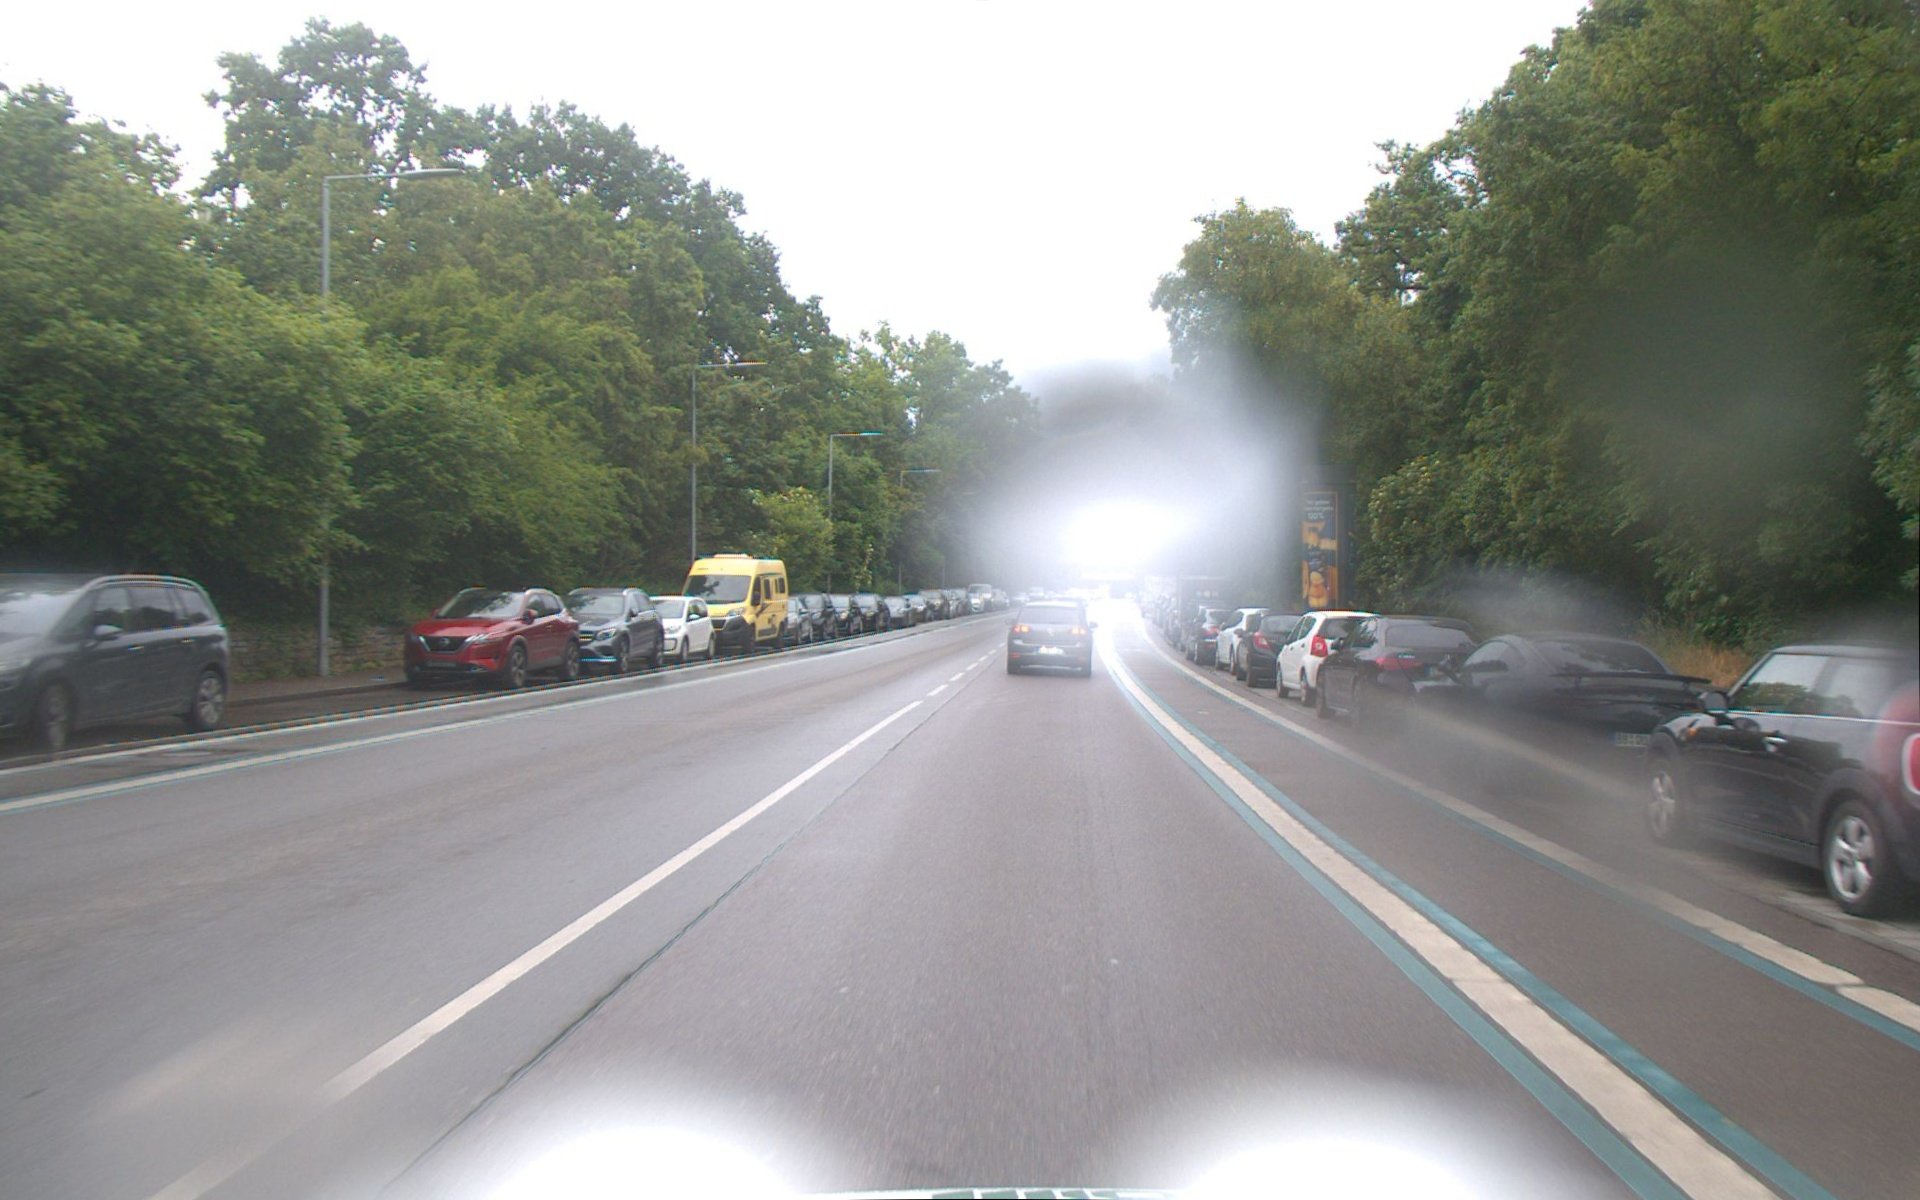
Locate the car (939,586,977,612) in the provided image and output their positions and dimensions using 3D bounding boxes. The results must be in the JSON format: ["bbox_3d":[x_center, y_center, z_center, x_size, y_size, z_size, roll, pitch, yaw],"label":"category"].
[{"bbox_3d":[-0.107,-0.069,102.336,1.839,1.588,4.471,1,0,6],"label":"car"}]

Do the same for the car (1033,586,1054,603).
[{"bbox_3d":[9.905,-0.662,195.967,2.113,2.049,5.034,0,0,7],"label":"car"}]

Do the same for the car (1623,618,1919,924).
[{"bbox_3d":[5.521,0.887,9.850,1.662,1.437,3.704,2,0,1],"label":"car"}]

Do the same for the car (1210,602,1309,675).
[{"bbox_3d":[6.761,0.831,37.696,1.584,1.492,4.001,2,0,1],"label":"car"}]

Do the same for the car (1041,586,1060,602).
[{"bbox_3d":[11.668,-0.807,213.091,2.113,2.049,5.034,0,0,7],"label":"car"}]

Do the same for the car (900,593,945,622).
[{"bbox_3d":[-1.809,0.334,80.122,1.660,1.323,4.195,1,0,6],"label":"car"}]

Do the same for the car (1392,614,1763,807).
[{"bbox_3d":[5.454,0.889,15.275,1.814,1.423,4.386,2,0,1],"label":"car"}]

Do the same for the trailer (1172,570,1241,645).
[{"bbox_3d":[7.913,0.217,53.477,1.866,2.287,4.771,1,1,5],"label":"trailer"}]

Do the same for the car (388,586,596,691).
[{"bbox_3d":[-7.841,0.601,28.200,1.878,1.645,4.493,0,0,6],"label":"car"}]

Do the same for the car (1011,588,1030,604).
[{"bbox_3d":[6.005,-0.396,163.943,1.637,1.540,3.632,1,1,5],"label":"car"}]

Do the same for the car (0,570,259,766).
[{"bbox_3d":[-8.912,0.555,16.513,1.695,1.677,4.573,1,0,2],"label":"car"}]

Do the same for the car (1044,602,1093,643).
[{"bbox_3d":[4.352,0.902,67.095,1.842,1.491,4.002,2,1,2],"label":"car"}]

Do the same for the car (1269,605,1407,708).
[{"bbox_3d":[6.094,0.863,27.000,1.527,1.486,3.677,2,0,2],"label":"car"}]

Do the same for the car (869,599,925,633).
[{"bbox_3d":[-2.661,0.665,70.518,1.830,1.326,4.473,1,1,5],"label":"car"}]

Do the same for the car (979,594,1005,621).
[{"bbox_3d":[2.524,0.546,129.684,1.899,2.049,4.742,1,0,3],"label":"car"}]

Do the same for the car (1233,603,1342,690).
[{"bbox_3d":[6.394,0.864,32.668,1.624,1.490,3.902,3,1,5],"label":"car"}]

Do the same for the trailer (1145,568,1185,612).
[{"bbox_3d":[12.342,-0.598,99.871,2.087,2.605,4.299,1,0,3],"label":"trailer"}]

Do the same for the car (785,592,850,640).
[{"bbox_3d":[-4.775,0.508,55.773,1.568,1.536,3.141,1,1,6],"label":"car"}]

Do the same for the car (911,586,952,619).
[{"bbox_3d":[-1.447,0.113,85.172,1.660,1.611,4.142,1,0,6],"label":"car"}]

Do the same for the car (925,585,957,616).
[{"bbox_3d":[-1.021,0.014,89.603,1.430,1.598,2.986,0,0,4],"label":"car"}]

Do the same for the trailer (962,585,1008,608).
[{"bbox_3d":[1.893,-0.286,124.190,1.598,1.657,3.658,1,1,36],"label":"trailer"}]

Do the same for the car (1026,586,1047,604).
[{"bbox_3d":[8.726,-0.554,188.032,2.113,2.049,5.034,0,0,7],"label":"car"}]

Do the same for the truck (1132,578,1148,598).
[{"bbox_3d":[24.175,-1.618,222.642,2.068,2.644,4.304,0,0,6],"label":"truck"}]

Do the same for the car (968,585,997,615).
[{"bbox_3d":[1.653,-0.024,119.158,1.899,2.049,4.742,1,0,3],"label":"car"}]

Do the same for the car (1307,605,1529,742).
[{"bbox_3d":[5.793,0.858,21.522,1.817,1.480,4.753,2,0,4],"label":"car"}]

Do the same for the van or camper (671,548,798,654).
[{"bbox_3d":[-6.015,-0.002,44.926,2.098,2.673,5.686,0,0,6],"label":"van or camper"}]

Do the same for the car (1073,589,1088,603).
[{"bbox_3d":[15.490,-0.465,212.777,1.784,1.736,3.859,1,0,6],"label":"car"}]

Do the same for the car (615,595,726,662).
[{"bbox_3d":[-6.700,0.628,38.615,1.583,1.474,3.659,-1,0,6],"label":"car"}]

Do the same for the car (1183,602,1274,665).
[{"bbox_3d":[6.831,0.823,42.472,1.715,1.418,4.447,2,0,2],"label":"car"}]

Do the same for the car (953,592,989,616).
[{"bbox_3d":[0.731,0.274,108.784,1.951,1.514,4.471,1,0,6],"label":"car"}]

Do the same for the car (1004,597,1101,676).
[{"bbox_3d":[1.934,0.744,34.317,1.832,1.466,4.298,2,-1,4],"label":"car"}]

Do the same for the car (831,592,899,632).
[{"bbox_3d":[-3.715,0.452,65.469,1.951,1.477,4.142,1,1,7],"label":"car"}]

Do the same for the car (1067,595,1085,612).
[{"bbox_3d":[12.349,0.383,176.410,1.784,1.736,3.859,1,0,6],"label":"car"}]

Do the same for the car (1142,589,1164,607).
[{"bbox_3d":[17.285,-0.185,148.128,1.857,1.634,4.003,1,0,6],"label":"car"}]

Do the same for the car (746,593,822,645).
[{"bbox_3d":[-5.337,0.547,50.572,1.644,1.524,4.151,0,0,3],"label":"car"}]

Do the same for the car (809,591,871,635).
[{"bbox_3d":[-4.389,0.458,61.112,1.568,1.536,3.980,1,1,7],"label":"car"}]

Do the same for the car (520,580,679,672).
[{"bbox_3d":[-7.234,0.474,33.722,1.952,1.730,4.618,0,0,4],"label":"car"}]

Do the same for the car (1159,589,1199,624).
[{"bbox_3d":[10.126,0.298,76.739,1.646,1.507,4.321,1,1,5],"label":"car"}]

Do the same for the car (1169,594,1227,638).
[{"bbox_3d":[8.420,0.527,58.848,1.757,1.475,4.431,0,0,5],"label":"car"}]

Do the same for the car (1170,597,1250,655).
[{"bbox_3d":[7.150,0.715,47.728,1.784,1.511,4.201,3,0,2],"label":"car"}]
